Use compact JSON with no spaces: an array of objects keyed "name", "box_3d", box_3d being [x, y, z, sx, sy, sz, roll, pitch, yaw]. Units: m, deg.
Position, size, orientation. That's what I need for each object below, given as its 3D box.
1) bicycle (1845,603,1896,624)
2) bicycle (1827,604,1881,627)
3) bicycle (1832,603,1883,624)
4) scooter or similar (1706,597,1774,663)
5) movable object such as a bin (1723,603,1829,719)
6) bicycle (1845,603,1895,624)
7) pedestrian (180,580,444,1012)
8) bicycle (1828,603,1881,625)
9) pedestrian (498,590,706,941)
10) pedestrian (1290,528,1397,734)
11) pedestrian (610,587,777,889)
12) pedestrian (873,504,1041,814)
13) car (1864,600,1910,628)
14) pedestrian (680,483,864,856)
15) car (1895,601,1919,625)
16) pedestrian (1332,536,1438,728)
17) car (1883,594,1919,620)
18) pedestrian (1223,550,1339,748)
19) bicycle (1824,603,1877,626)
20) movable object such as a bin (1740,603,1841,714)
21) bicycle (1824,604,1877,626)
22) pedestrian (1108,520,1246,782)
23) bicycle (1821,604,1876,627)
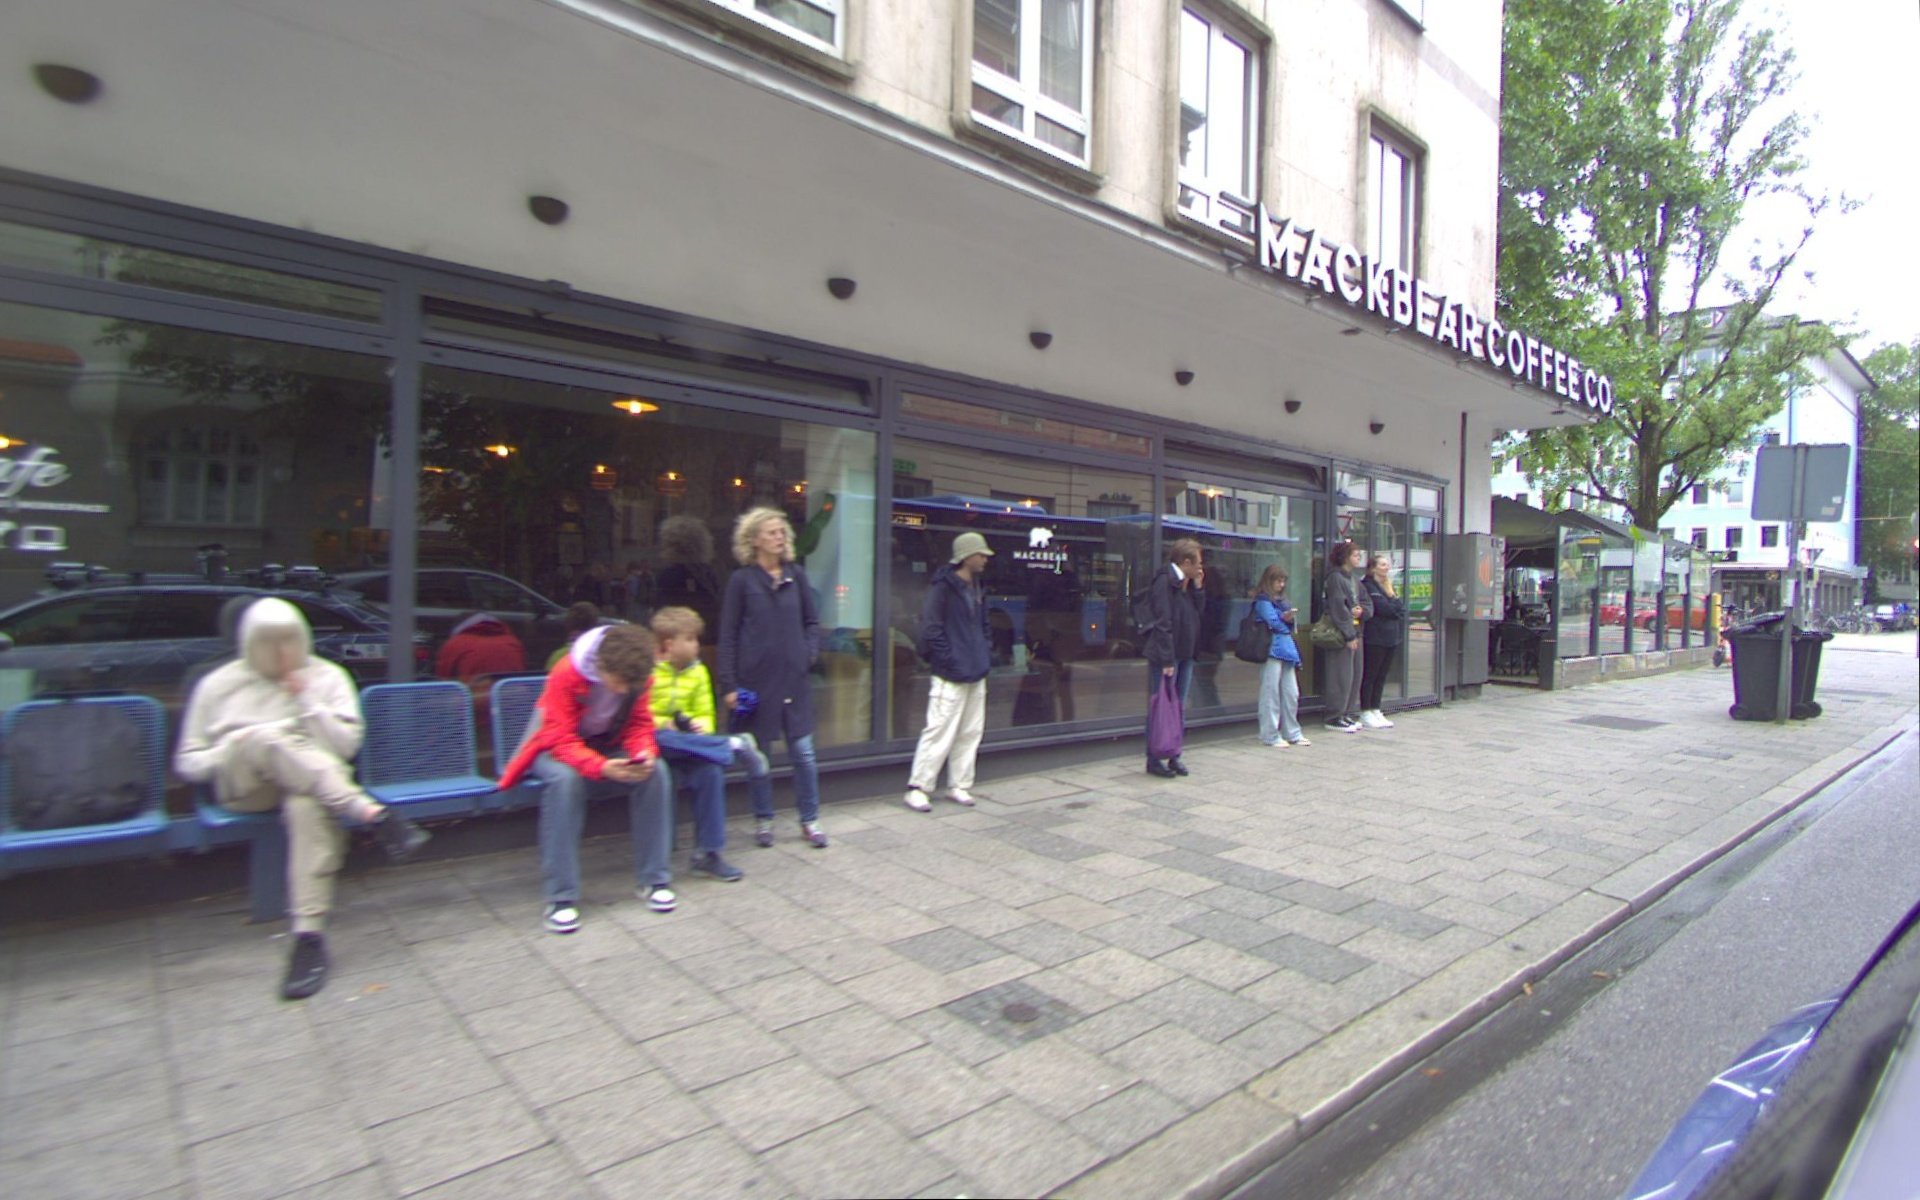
[{"name":"bicycle","box_3d":[52.107,0.769,57.926,2.114,1.131,0.621,2,1,40]},{"name":"bicycle","box_3d":[47.537,0.808,53.845,2.114,1.131,0.728,2,1,40]},{"name":"bicycle","box_3d":[50.947,0.747,57.502,2.114,1.131,0.621,2,1,40]},{"name":"scooter or similar","box_3d":[15.549,0.576,20.164,1.415,1.257,0.565,0,1,-31]},{"name":"movable object such as a bin","box_3d":[9.561,0.680,11.853,0.875,1.266,0.786,2,1,44]},{"name":"bicycle","box_3d":[52.652,0.789,58.590,2.114,1.131,0.621,2,1,40]},{"name":"pedestrian","box_3d":[-2.339,0.568,3.606,0.656,1.252,1.099,0,1,-40]},{"name":"bicycle","box_3d":[49.371,0.781,55.883,2.114,1.131,0.621,2,1,40]},{"name":"pedestrian","box_3d":[-1.463,0.595,4.112,0.574,1.252,0.709,0,1,-40]},{"name":"pedestrian","box_3d":[3.604,0.267,9.526,0.683,1.845,0.659,0,1,-40]},{"name":"pedestrian","box_3d":[-1.232,0.575,4.649,0.487,1.252,0.681,0,1,-40]},{"name":"pedestrian","box_3d":[-0.021,0.324,6.216,0.764,1.755,0.659,0,1,-40]},{"name":"car","box_3d":[56.865,0.832,62.042,3.931,1.571,1.717,0,2,-42]},{"name":"pedestrian","box_3d":[-0.973,0.318,5.218,0.672,1.755,0.659,0,1,-40]},{"name":"car","box_3d":[65.343,0.885,69.160,3.931,1.571,1.717,0,2,-42]},{"name":"pedestrian","box_3d":[4.198,0.290,9.992,0.757,1.805,0.659,0,1,-40]},{"name":"car","box_3d":[60.866,0.452,65.159,3.931,1.571,1.717,0,2,-42]},{"name":"pedestrian","box_3d":[2.750,0.388,8.684,0.683,1.613,0.659,0,1,-40]},{"name":"bicycle","box_3d":[48.597,0.782,55.233,2.114,1.131,0.621,2,1,40]},{"name":"movable object such as a bin","box_3d":[10.181,0.688,12.403,0.875,1.266,0.786,2,1,44]},{"name":"bicycle","box_3d":[48.086,0.797,54.671,2.114,1.131,0.621,2,1,40]},{"name":"pedestrian","box_3d":[1.554,0.334,7.257,0.683,1.755,0.659,0,1,-40]},{"name":"bicycle","box_3d":[46.669,0.798,53.201,2.114,1.131,0.728,2,1,40]}]
